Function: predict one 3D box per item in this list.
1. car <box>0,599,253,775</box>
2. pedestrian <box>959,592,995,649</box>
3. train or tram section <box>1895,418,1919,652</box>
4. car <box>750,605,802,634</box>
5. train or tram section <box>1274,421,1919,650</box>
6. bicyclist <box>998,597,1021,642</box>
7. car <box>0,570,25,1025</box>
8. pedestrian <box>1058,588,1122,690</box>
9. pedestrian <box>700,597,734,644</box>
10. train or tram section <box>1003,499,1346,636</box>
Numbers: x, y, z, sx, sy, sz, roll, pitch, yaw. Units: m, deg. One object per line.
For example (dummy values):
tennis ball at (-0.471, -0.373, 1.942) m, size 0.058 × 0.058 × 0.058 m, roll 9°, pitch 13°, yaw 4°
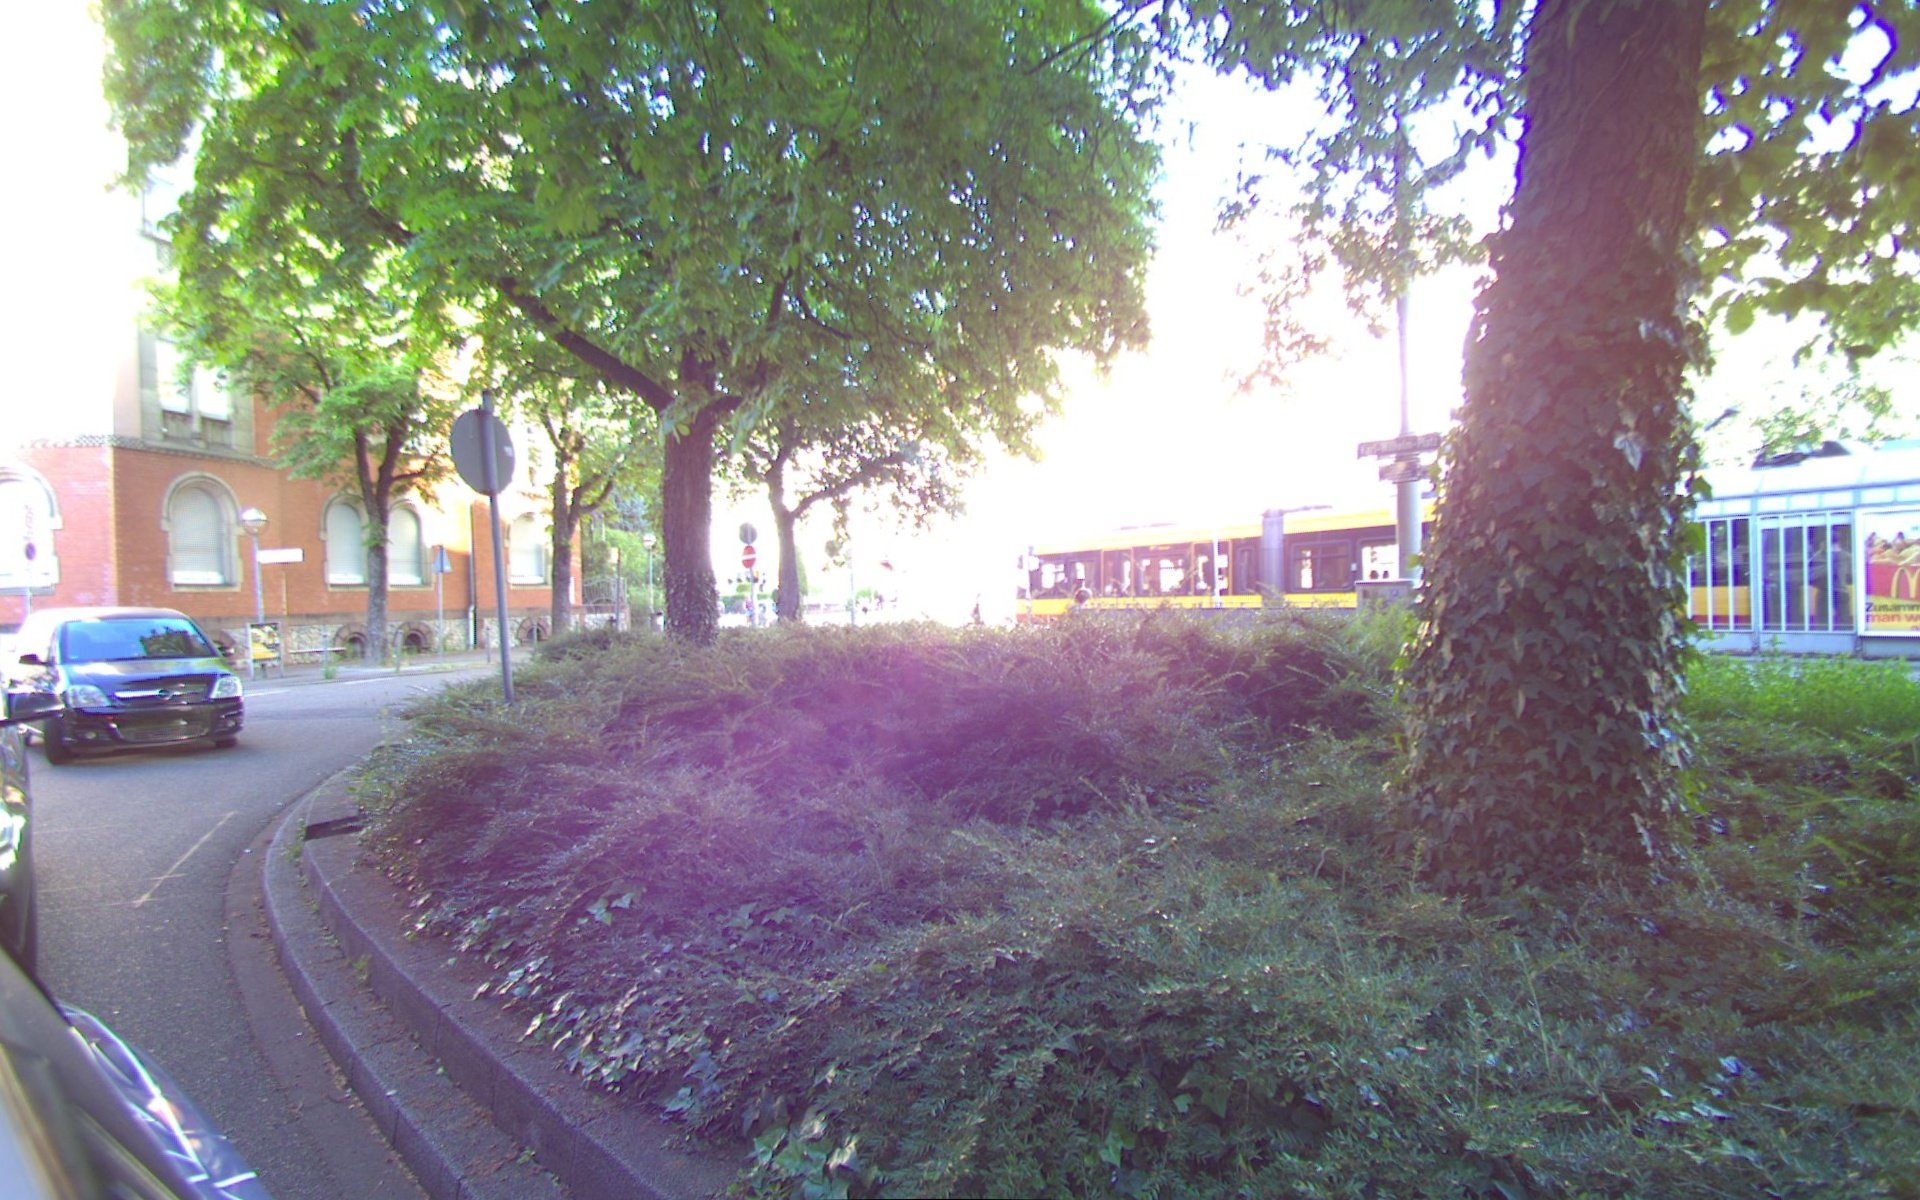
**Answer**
car at (-9.626, 0.867, 11.495) m, size 3.684 × 1.640 × 1.659 m, roll -2°, pitch 0°, yaw 40°
pedestrian at (0.527, 0.627, 30.934) m, size 0.721 × 1.647 × 0.897 m, roll -3°, pitch 1°, yaw 25°
train or tram section at (19.128, -1.127, 11.714) m, size 2.753 × 3.647 × 11.835 m, roll -2°, pitch 0°, yaw -32°
car at (-9.712, 1.004, 53.300) m, size 1.707 × 1.428 × 4.013 m, roll -2°, pitch 0°, yaw -25°
train or tram section at (12.747, -0.980, 22.025) m, size 2.739 × 3.614 × 12.456 m, roll -2°, pitch 0°, yaw -32°
bicyclist at (1.753, 0.681, 35.955) m, size 0.588 × 1.585 × 0.557 m, roll -2°, pitch 0°, yaw -30°
car at (-5.420, 0.740, 4.526) m, size 1.768 × 1.590 × 4.264 m, roll -1°, pitch -1°, yaw -43°
pedestrian at (1.936, 0.569, 15.071) m, size 0.698 × 1.454 × 0.602 m, roll -2°, pitch 0°, yaw -25°
pedestrian at (-9.064, 0.759, 37.760) m, size 0.722 × 1.647 × 0.897 m, roll -3°, pitch 1°, yaw 27°
train or tram section at (6.130, -0.819, 32.734) m, size 2.727 × 3.584 × 12.718 m, roll -2°, pitch 0°, yaw -32°
